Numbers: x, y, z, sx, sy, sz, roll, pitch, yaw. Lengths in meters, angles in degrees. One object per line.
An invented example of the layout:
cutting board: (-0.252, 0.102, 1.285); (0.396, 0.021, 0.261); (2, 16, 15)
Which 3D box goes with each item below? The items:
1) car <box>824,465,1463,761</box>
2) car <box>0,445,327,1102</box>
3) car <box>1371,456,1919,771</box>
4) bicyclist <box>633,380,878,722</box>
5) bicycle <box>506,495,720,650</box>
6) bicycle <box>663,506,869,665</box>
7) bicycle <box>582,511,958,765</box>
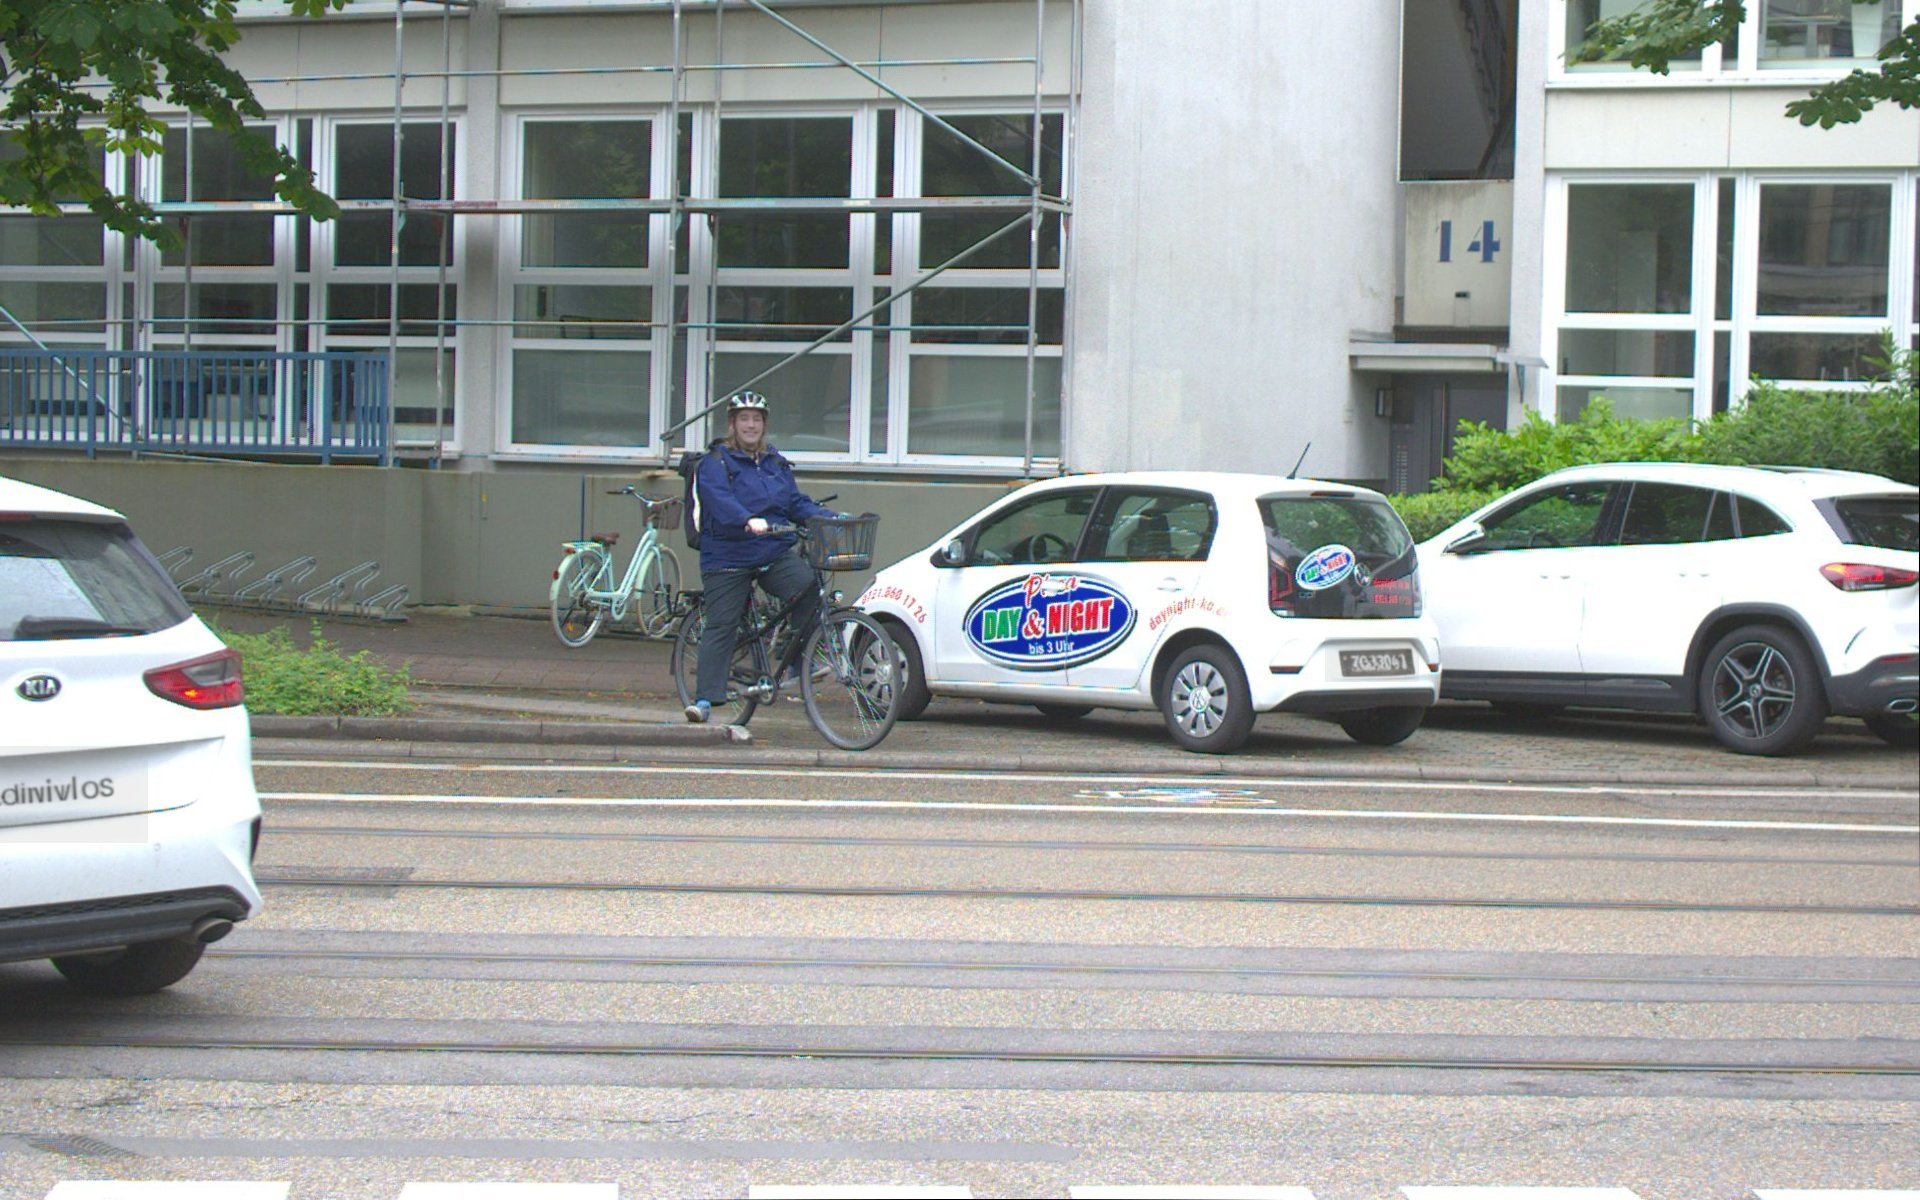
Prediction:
car: (0.960, 0.003, 19.237); (1.552, 1.468, 3.406); (-1, 3, -44)
car: (-3.657, 0.290, 9.209); (3.976, 1.427, 1.777); (6, 7, 41)
car: (4.187, 0.006, 19.687); (1.552, 1.612, 3.406); (-1, 3, -44)
bicyclist: (-1.050, -0.268, 17.645); (0.896, 1.692, 0.832); (4, 3, 45)
bicycle: (-2.557, -0.231, 25.635); (0.645, 1.071, 2.310); (2, 3, 20)
bicycle: (-1.394, -0.134, 25.204); (0.645, 1.071, 2.310); (2, 3, 20)
bicycle: (-0.992, 0.160, 17.597); (1.914, 1.170, 0.819); (4, 4, 44)
